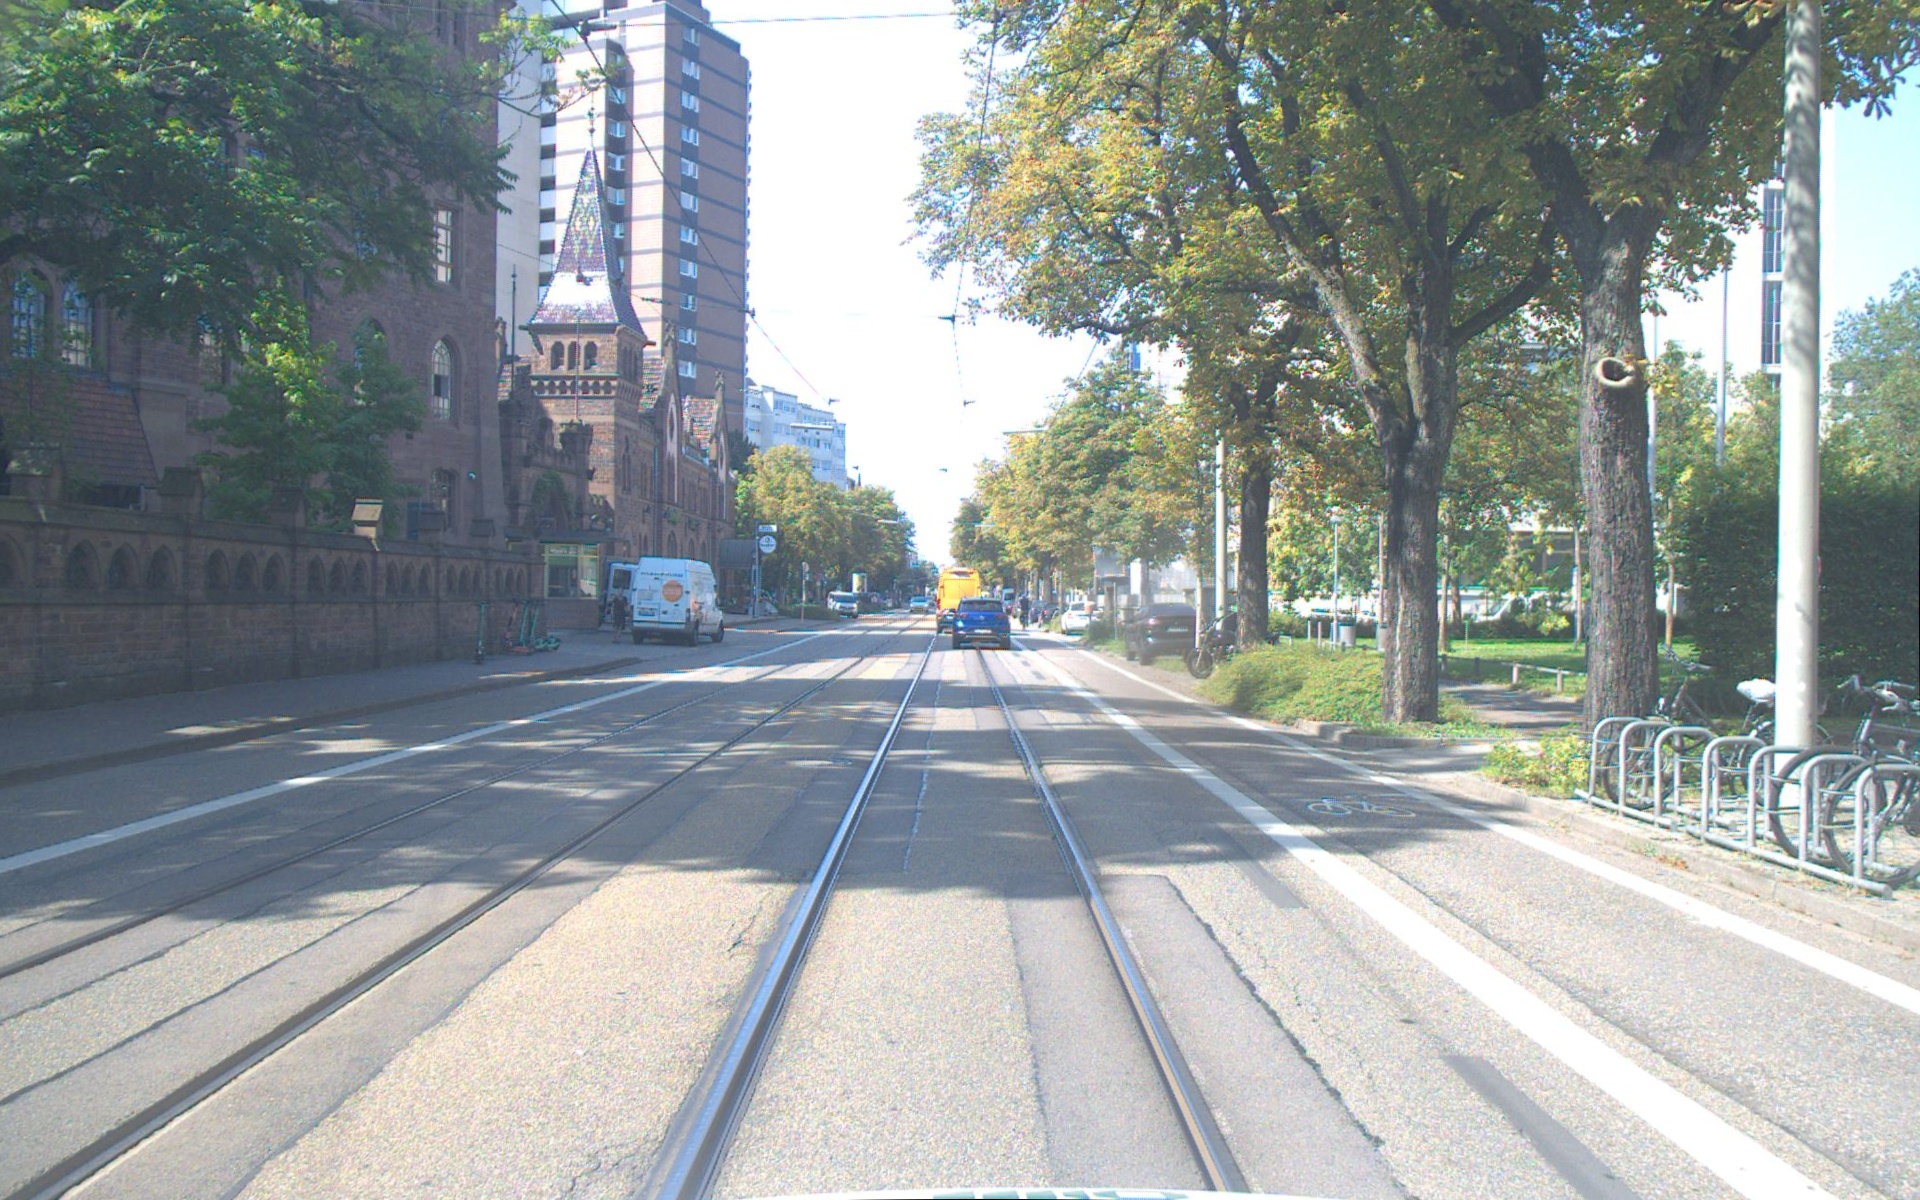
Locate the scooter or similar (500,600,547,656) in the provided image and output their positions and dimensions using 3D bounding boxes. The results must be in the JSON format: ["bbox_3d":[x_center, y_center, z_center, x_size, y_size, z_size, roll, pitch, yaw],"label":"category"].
[{"bbox_3d":[-9.689,0.616,36.744,0.333,1.199,1.177,1,0,25],"label":"scooter or similar"}]

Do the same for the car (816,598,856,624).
[{"bbox_3d":[-9.101,0.800,120.787,1.723,1.828,3.971,1,0,-23],"label":"car"}]

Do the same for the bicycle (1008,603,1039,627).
[{"bbox_3d":[3.134,0.724,82.332,1.373,1.154,4.000,1,0,0],"label":"bicycle"}]

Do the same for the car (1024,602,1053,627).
[{"bbox_3d":[4.929,0.907,104.231,1.707,1.583,4.217,0,0,0],"label":"car"}]

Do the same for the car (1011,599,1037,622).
[{"bbox_3d":[4.897,0.781,127.423,1.705,1.697,4.360,1,0,-1],"label":"car"}]

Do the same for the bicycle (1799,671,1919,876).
[{"bbox_3d":[5.630,0.936,9.130,1.735,1.068,0.540,0,0,-1],"label":"bicycle"}]

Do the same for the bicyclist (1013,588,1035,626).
[{"bbox_3d":[3.175,0.337,82.310,1.010,1.844,1.016,1,0,-1],"label":"bicyclist"}]

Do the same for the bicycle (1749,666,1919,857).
[{"bbox_3d":[5.671,0.936,9.809,1.735,1.068,0.540,0,0,-1],"label":"bicycle"}]

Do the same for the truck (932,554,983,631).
[{"bbox_3d":[-0.118,-0.312,71.285,2.092,3.179,6.084,0,0,0],"label":"truck"}]

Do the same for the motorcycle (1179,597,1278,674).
[{"bbox_3d":[5.566,0.717,34.460,0.839,1.542,2.436,1,0,-24],"label":"motorcycle"}]

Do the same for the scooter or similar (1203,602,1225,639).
[{"bbox_3d":[9.098,0.734,59.255,0.544,1.281,1.818,1,0,2],"label":"scooter or similar"}]

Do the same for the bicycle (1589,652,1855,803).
[{"bbox_3d":[5.643,0.935,12.288,1.735,1.068,0.540,0,0,-1],"label":"bicycle"}]

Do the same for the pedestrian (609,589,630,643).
[{"bbox_3d":[-10.341,0.484,50.283,0.487,1.627,0.552,1,0,0],"label":"pedestrian"}]

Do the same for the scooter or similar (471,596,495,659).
[{"bbox_3d":[-9.348,0.531,32.445,0.413,1.199,1.311,1,0,-15],"label":"scooter or similar"}]

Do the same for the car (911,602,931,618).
[{"bbox_3d":[-3.835,0.949,163.794,1.809,1.518,4.867,0,0,0],"label":"car"}]

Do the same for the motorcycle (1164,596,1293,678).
[{"bbox_3d":[5.311,0.713,32.758,2.408,1.542,0.849,1,0,38],"label":"motorcycle"}]

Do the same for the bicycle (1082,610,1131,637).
[{"bbox_3d":[5.443,0.879,61.546,1.775,0.975,0.558,1,0,-1],"label":"bicycle"}]

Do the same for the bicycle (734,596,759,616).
[{"bbox_3d":[-12.977,0.383,100.392,1.423,1.112,0.399,4,-1,-4],"label":"bicycle"}]

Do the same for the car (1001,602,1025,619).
[{"bbox_3d":[4.701,0.957,147.941,1.869,1.457,4.291,1,0,-1],"label":"car"}]

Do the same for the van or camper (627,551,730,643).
[{"bbox_3d":[-8.864,-0.078,52.618,2.069,2.722,5.956,1,0,1],"label":"van or camper"}]

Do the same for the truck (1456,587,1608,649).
[{"bbox_3d":[23.152,0.706,67.121,5.393,2.366,2.299,1,0,1],"label":"truck"}]

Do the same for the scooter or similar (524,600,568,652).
[{"bbox_3d":[-9.769,0.614,39.050,0.333,1.199,1.177,1,0,25],"label":"scooter or similar"}]

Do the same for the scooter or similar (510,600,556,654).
[{"bbox_3d":[-9.780,0.614,37.915,0.333,1.199,1.177,1,0,25],"label":"scooter or similar"}]

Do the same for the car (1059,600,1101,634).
[{"bbox_3d":[5.362,0.759,74.304,1.625,1.507,4.217,0,0,0],"label":"car"}]

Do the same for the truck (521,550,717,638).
[{"bbox_3d":[-11.799,-0.226,57.446,6.188,2.582,2.132,4,1,4],"label":"truck"}]

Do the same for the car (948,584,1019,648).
[{"bbox_3d":[0.690,0.470,51.632,2.092,1.891,5.568,0,0,0],"label":"car"}]

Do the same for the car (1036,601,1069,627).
[{"bbox_3d":[5.148,0.790,92.684,1.625,1.432,4.217,0,0,0],"label":"car"}]

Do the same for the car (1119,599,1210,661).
[{"bbox_3d":[5.302,0.747,43.423,1.720,1.542,4.608,0,0,-1],"label":"car"}]

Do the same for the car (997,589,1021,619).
[{"bbox_3d":[4.668,0.347,158.537,1.953,2.804,5.759,1,0,-1],"label":"car"}]
